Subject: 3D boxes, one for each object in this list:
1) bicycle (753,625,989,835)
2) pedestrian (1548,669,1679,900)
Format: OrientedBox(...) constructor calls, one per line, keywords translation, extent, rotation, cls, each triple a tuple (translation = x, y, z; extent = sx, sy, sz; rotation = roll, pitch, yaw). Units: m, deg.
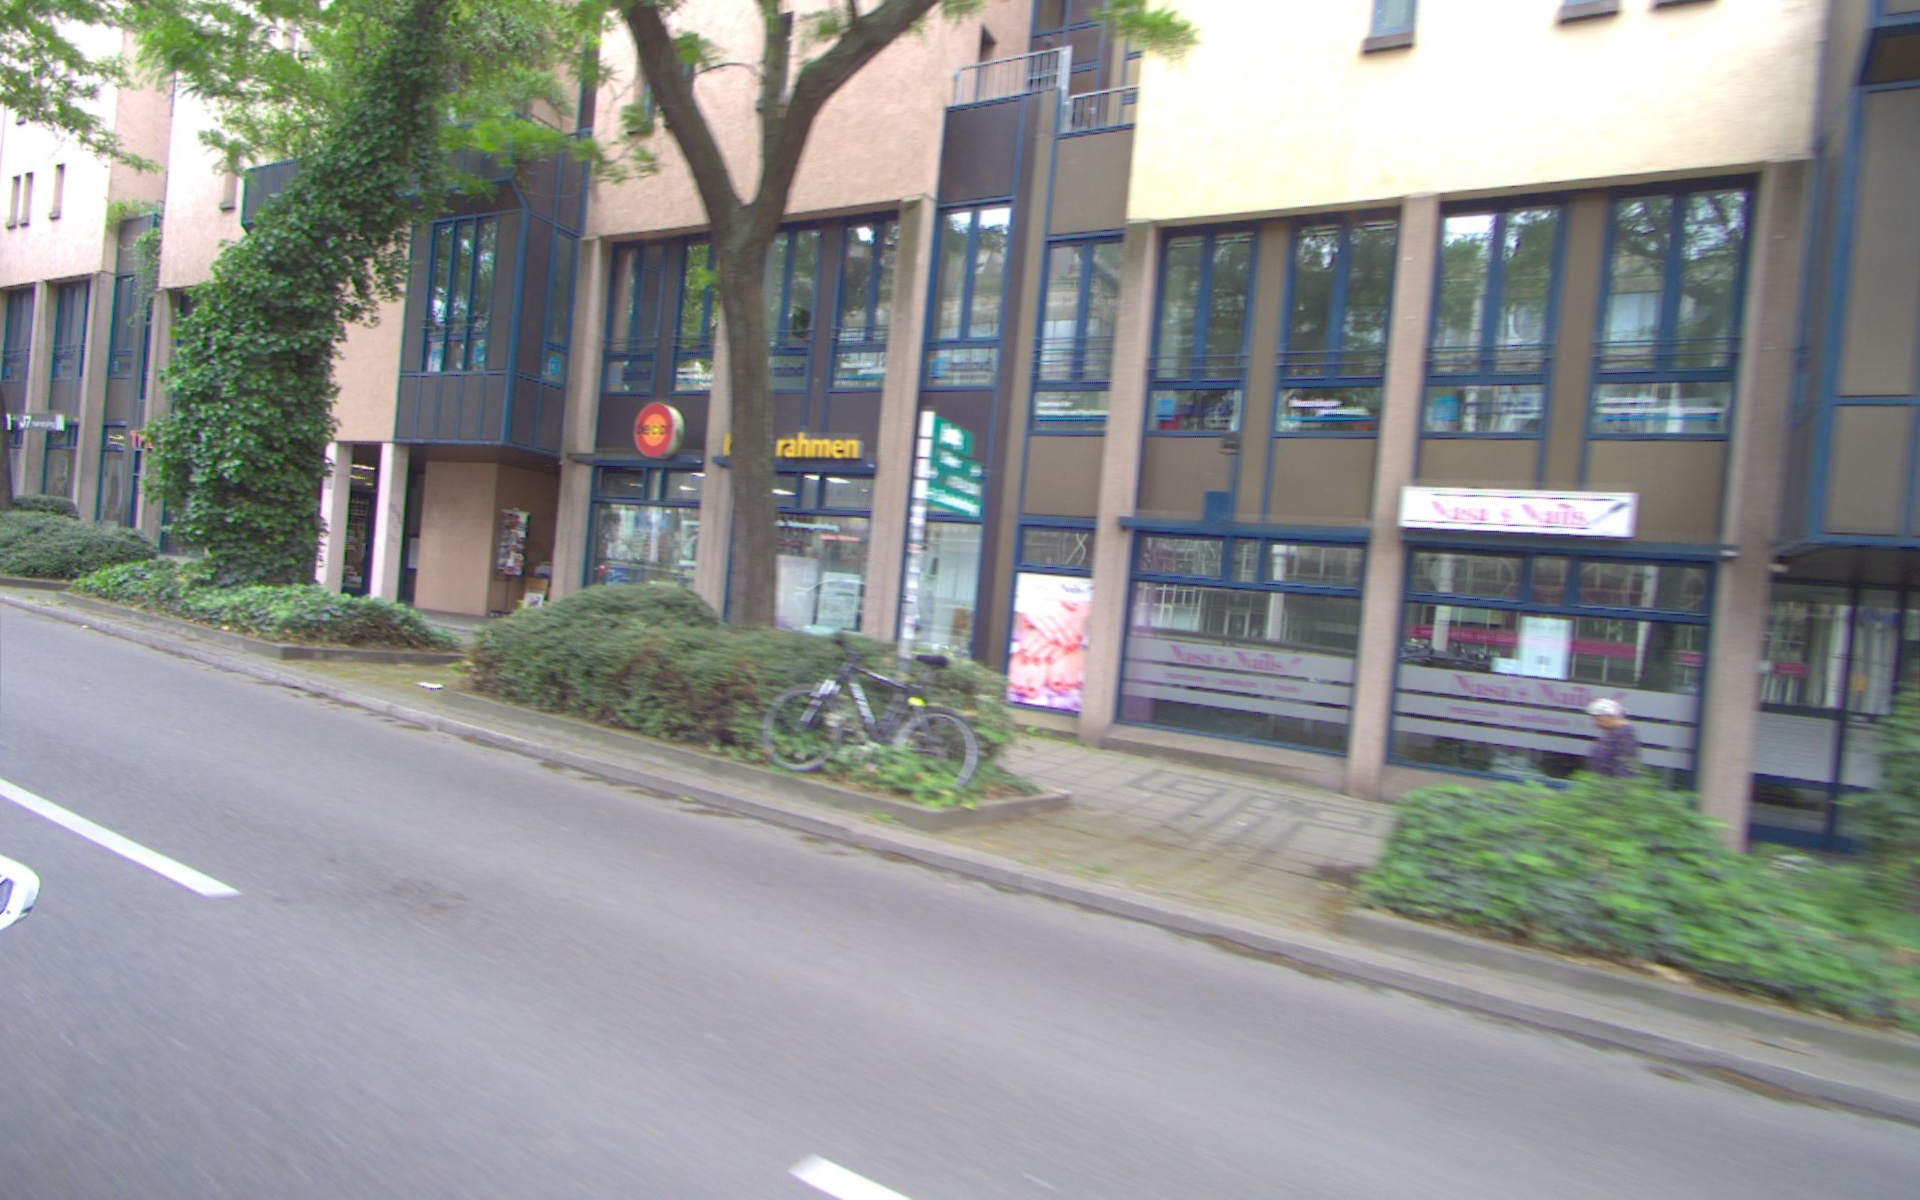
OrientedBox(translation=(-0.644, 0.881, 7.120), extent=(1.541, 1.217, 0.362), rotation=(7, 1, 21), cls="bicycle")
OrientedBox(translation=(5.442, 1.493, 8.382), extent=(0.677, 1.733, 0.709), rotation=(8, 2, 35), cls="pedestrian")
